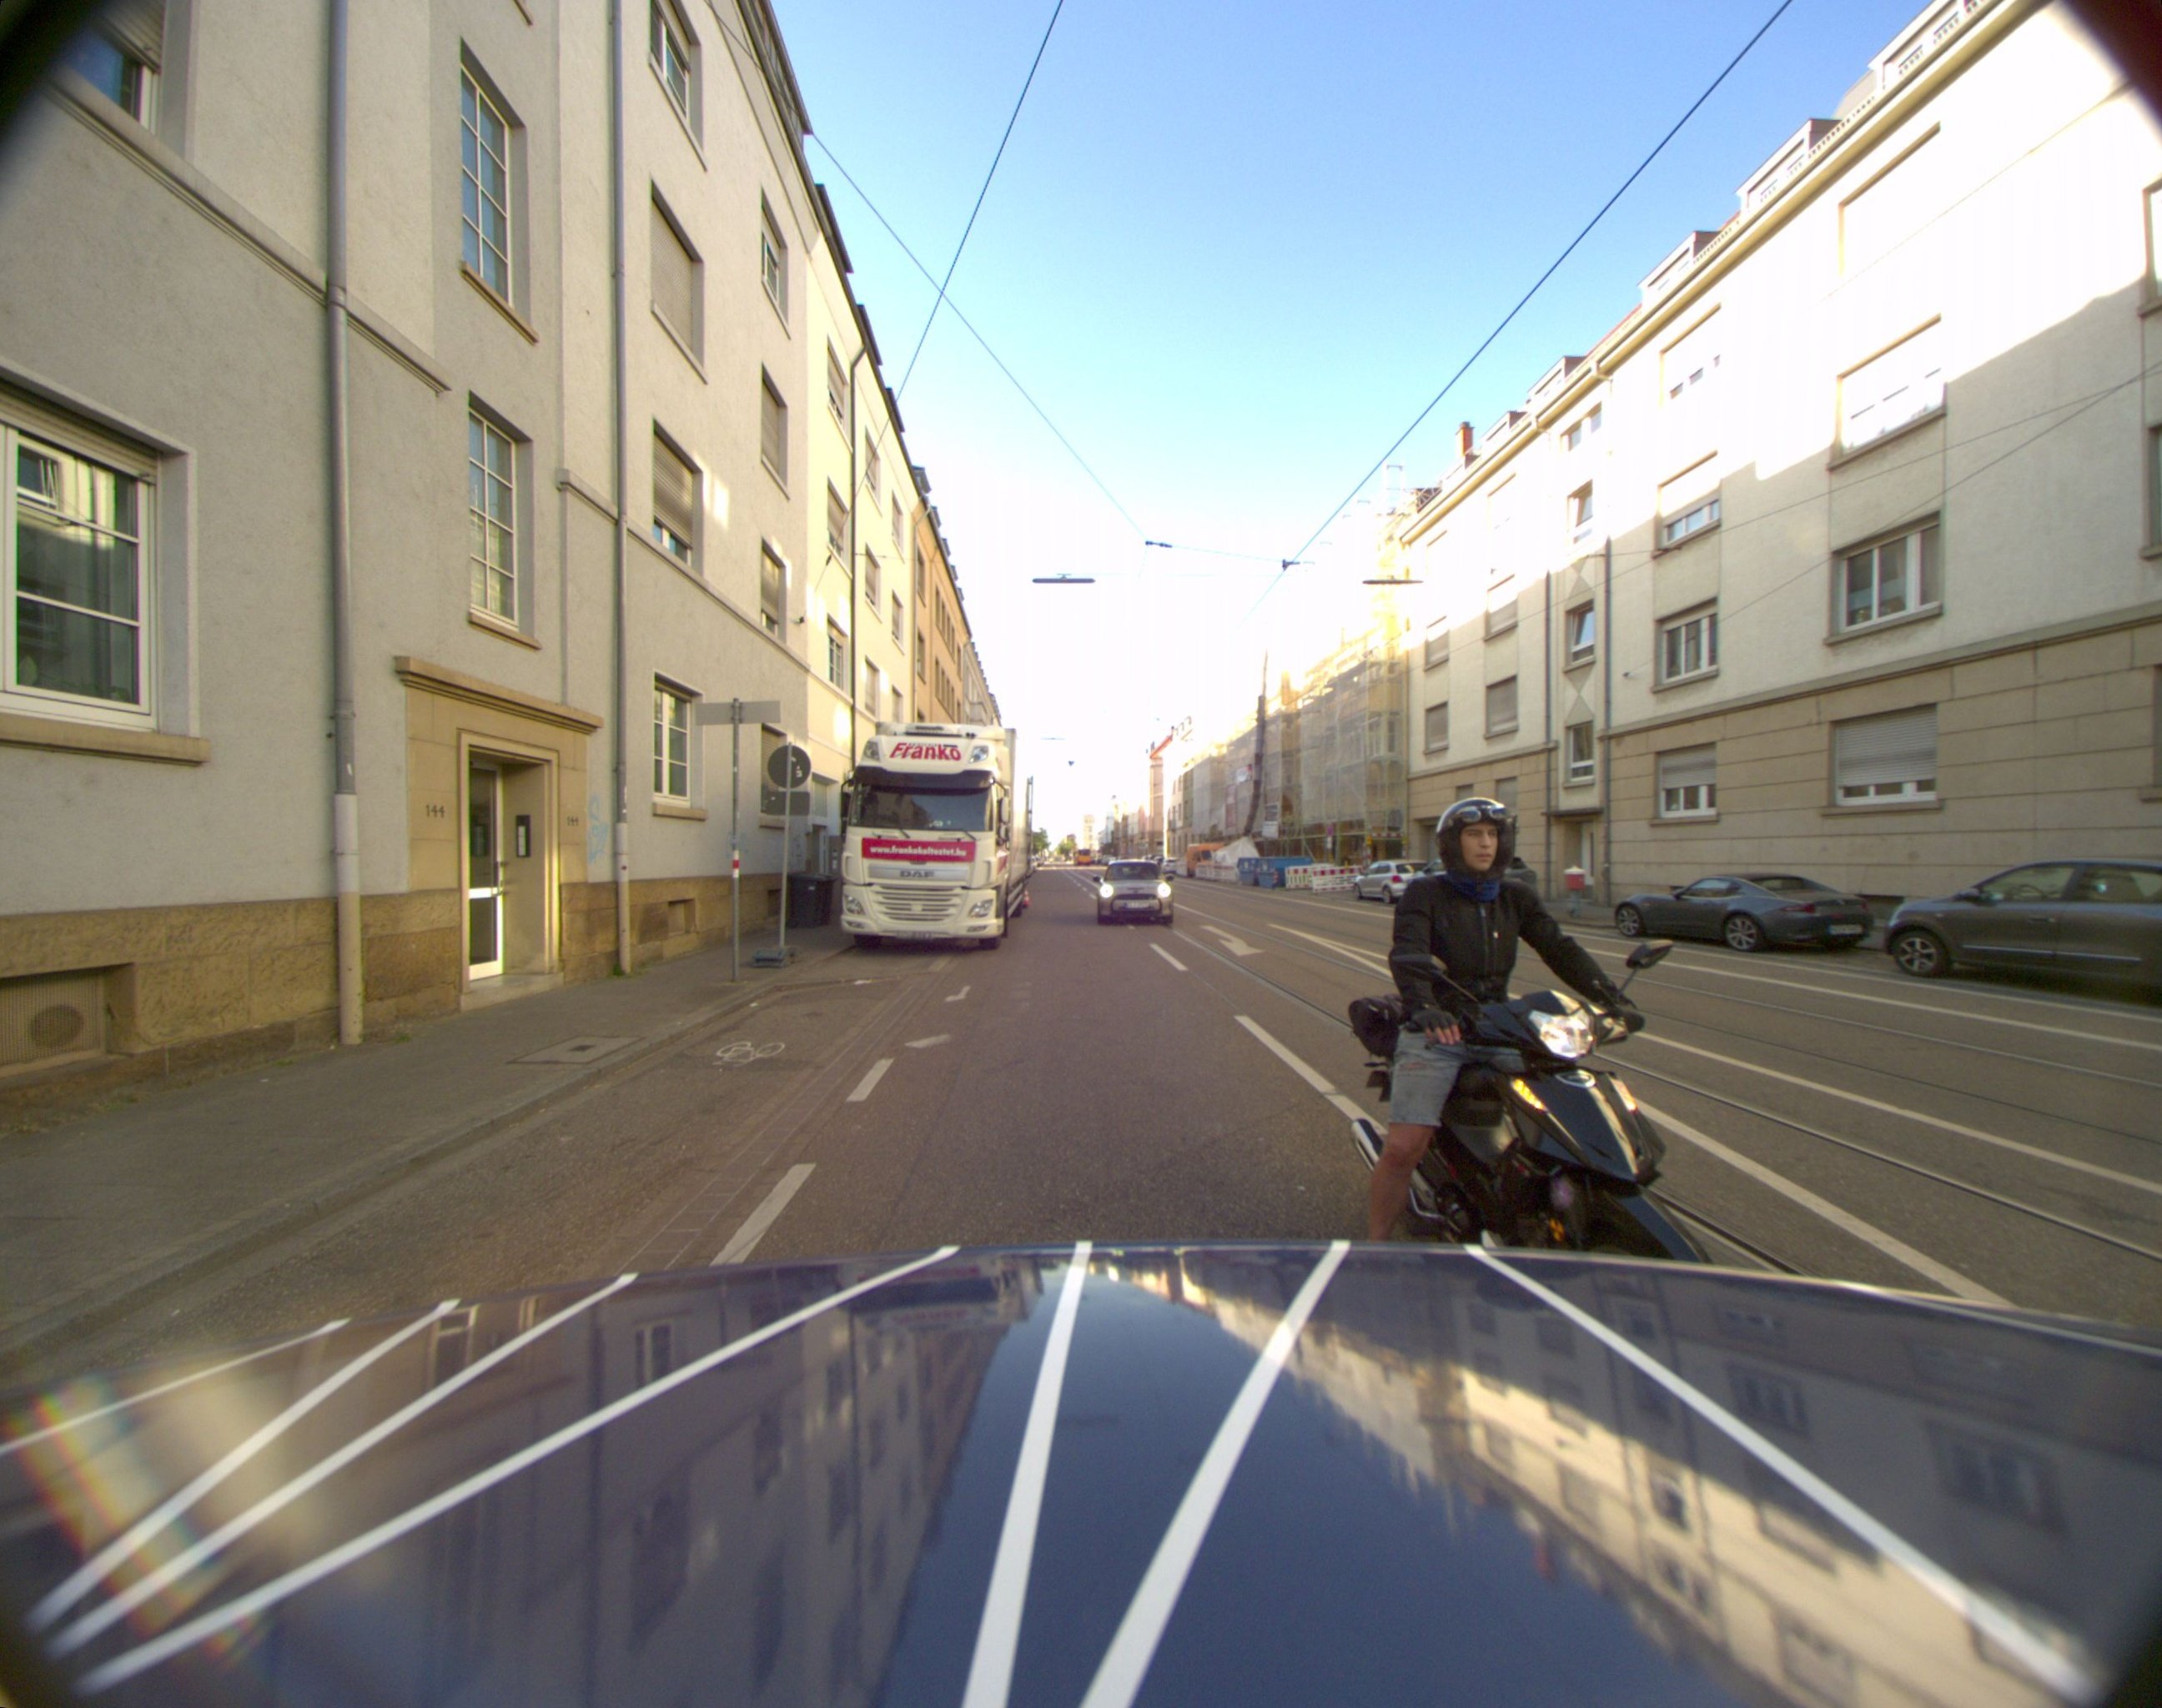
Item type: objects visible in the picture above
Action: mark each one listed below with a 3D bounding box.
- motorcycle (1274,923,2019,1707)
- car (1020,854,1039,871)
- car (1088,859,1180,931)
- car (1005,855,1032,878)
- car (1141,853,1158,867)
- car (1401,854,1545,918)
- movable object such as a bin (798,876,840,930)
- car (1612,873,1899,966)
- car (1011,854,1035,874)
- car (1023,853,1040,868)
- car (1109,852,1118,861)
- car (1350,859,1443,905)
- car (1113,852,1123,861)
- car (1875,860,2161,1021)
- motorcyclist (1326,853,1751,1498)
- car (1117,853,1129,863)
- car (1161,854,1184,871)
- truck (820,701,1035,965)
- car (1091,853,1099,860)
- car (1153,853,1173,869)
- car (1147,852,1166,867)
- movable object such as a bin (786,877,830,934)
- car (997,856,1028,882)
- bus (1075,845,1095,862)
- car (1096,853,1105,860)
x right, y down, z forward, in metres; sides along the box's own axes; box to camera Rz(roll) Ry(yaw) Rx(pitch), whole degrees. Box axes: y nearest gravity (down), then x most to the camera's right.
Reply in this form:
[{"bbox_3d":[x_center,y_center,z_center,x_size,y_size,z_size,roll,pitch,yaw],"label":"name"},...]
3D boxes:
[{"bbox_3d":[1.305,0.977,2.510,0.791,1.284,2.273,0,0,1],"label":"motorcycle"},{"bbox_3d":[-4.864,0.756,72.088,1.685,1.522,4.148,-2,0,-3],"label":"car"},{"bbox_3d":[1.140,0.878,18.178,1.685,1.454,4.148,-2,0,-3],"label":"car"},{"bbox_3d":[-4.309,0.835,52.980,1.685,1.522,4.148,-2,0,-3],"label":"car"},{"bbox_3d":[7.925,0.661,87.870,1.684,1.478,3.966,-2,0,1],"label":"car"},{"bbox_3d":[10.806,0.810,21.322,1.696,1.590,4.206,-1,0,-3],"label":"car"},{"bbox_3d":[-5.404,1.003,15.699,0.666,1.087,0.570,0,1,-2],"label":"movable object such as a bin"},{"bbox_3d":[11.176,1.004,12.972,1.520,1.227,3.685,-1,0,-3],"label":"car"},{"bbox_3d":[-4.517,0.753,59.148,1.685,1.522,4.148,-2,0,-3],"label":"car"},{"bbox_3d":[-5.359,0.657,82.734,1.685,1.522,4.148,-2,0,-3],"label":"car"},{"bbox_3d":[5.947,0.454,139.334,1.684,1.478,3.966,-2,0,1],"label":"car"},{"bbox_3d":[10.605,0.886,25.770,1.543,1.404,3.510,-1,0,-3],"label":"car"},{"bbox_3d":[6.520,0.475,134.392,1.684,1.478,3.966,-2,0,1],"label":"car"},{"bbox_3d":[11.413,0.864,8.310,1.679,1.519,3.539,-1,0,-3],"label":"car"},{"bbox_3d":[1.305,0.820,2.381,0.791,1.645,0.900,0,1,1],"label":"motorcyclist"},{"bbox_3d":[6.588,0.632,118.626,1.684,1.478,3.966,-2,0,1],"label":"car"},{"bbox_3d":[8.564,0.767,71.103,1.684,1.478,3.966,-2,0,1],"label":"car"},{"bbox_3d":[-2.631,-0.316,17.170,2.782,3.903,11.816,0,0,-2],"label":"truck"},{"bbox_3d":[3.522,0.621,191.736,1.684,1.478,3.965,-2,0,-1],"label":"car"},{"bbox_3d":[8.259,0.712,76.800,1.684,1.478,3.966,-2,0,1],"label":"car"},{"bbox_3d":[8.237,0.624,83.174,1.684,1.573,3.966,-2,0,1],"label":"car"},{"bbox_3d":[-5.388,1.011,15.030,0.666,1.087,0.570,0,1,-2],"label":"movable object such as a bin"},{"bbox_3d":[-4.182,0.903,47.177,1.685,1.522,4.148,-2,0,-3],"label":"car"},{"bbox_3d":[0.618,-0.112,145.272,2.755,3.095,19.156,0,0,-3],"label":"bus"},{"bbox_3d":[4.246,0.629,167.802,1.684,1.478,3.965,-2,0,-1],"label":"car"}]
